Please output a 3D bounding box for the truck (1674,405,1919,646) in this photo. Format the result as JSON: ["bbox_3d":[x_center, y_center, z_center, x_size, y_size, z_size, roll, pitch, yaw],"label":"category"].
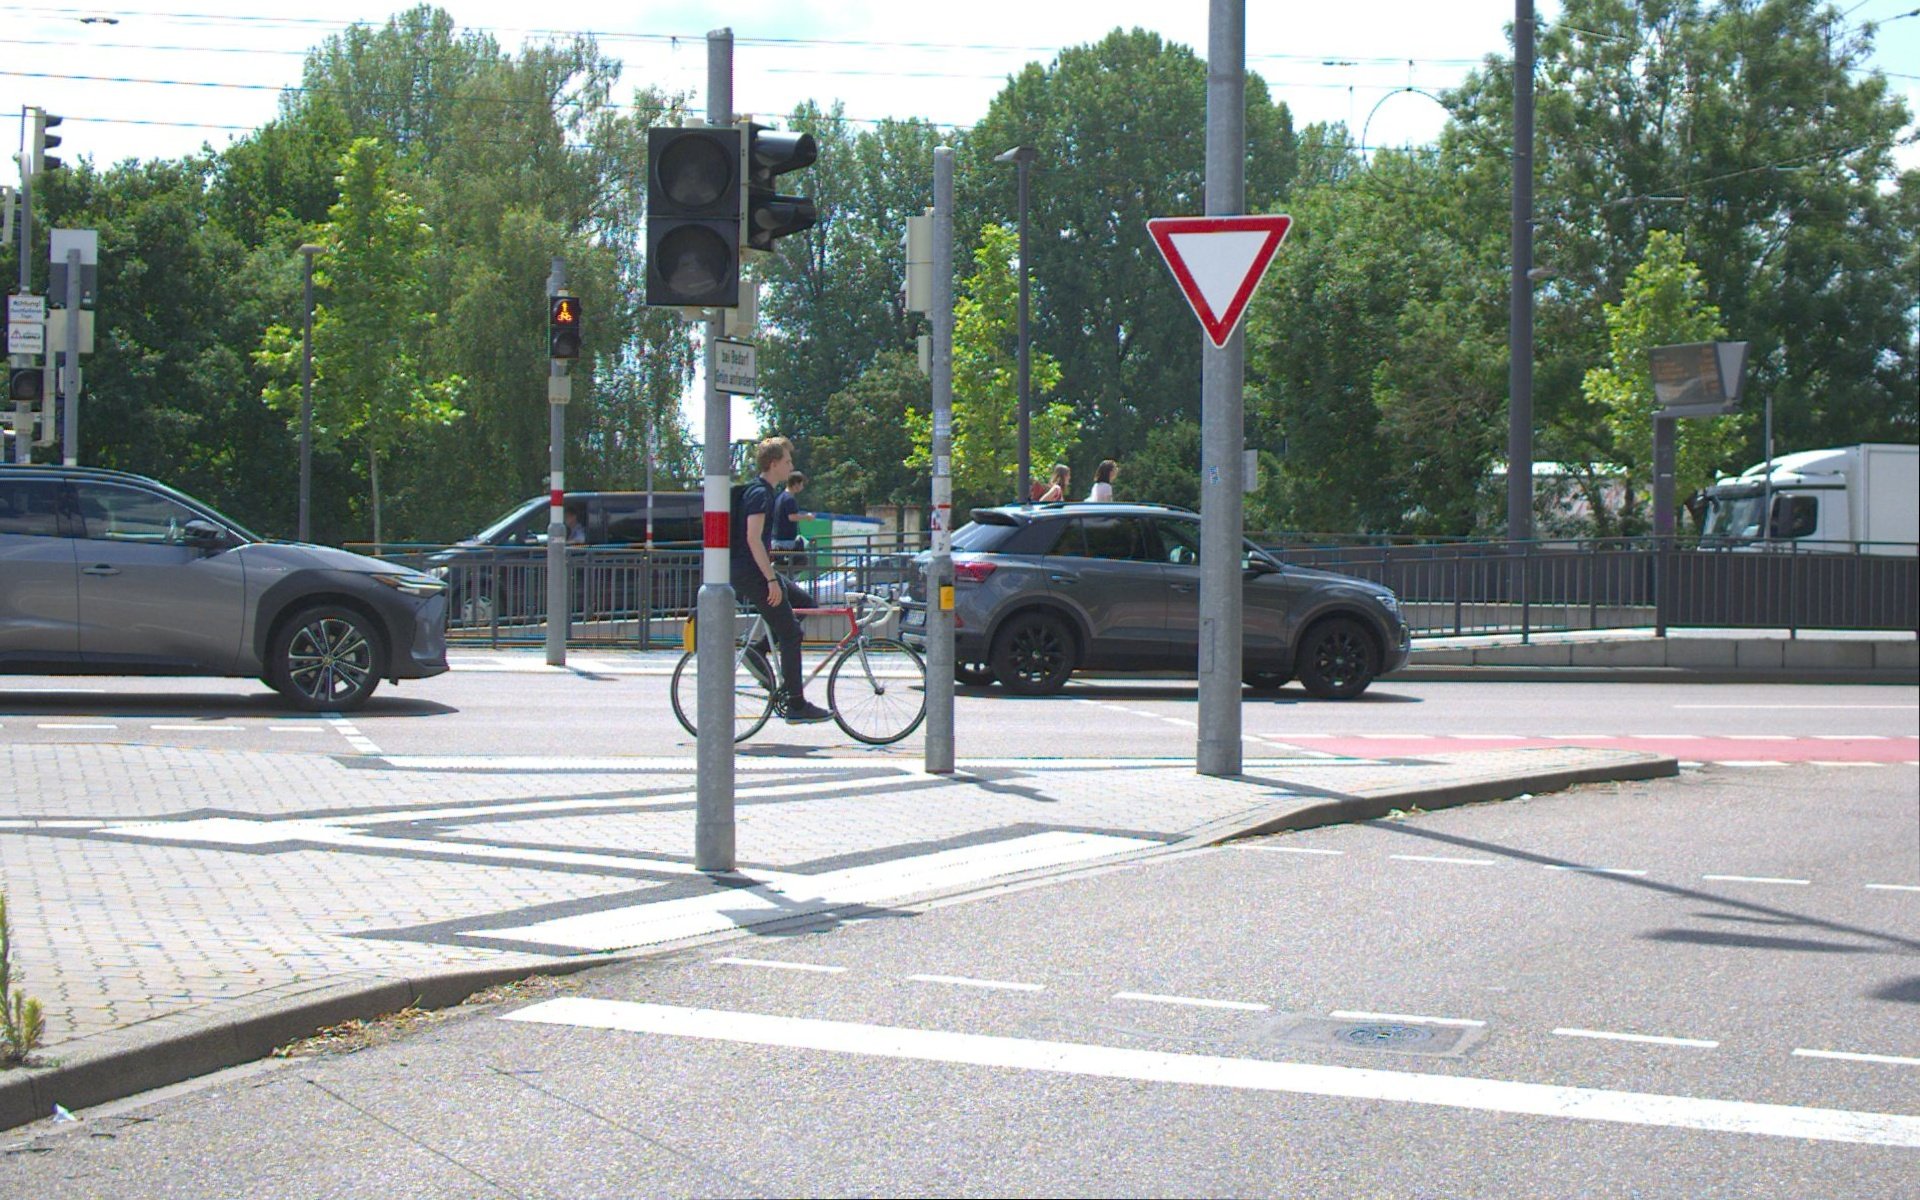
[{"bbox_3d":[19.006,-1.251,61.722,11.954,4.090,2.953,1,1,-15],"label":"truck"}]

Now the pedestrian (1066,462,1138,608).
[{"bbox_3d":[1.716,-0.793,41.633,0.675,1.742,0.637,1,2,-14],"label":"pedestrian"}]

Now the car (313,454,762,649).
[{"bbox_3d":[-4.071,-0.476,32.957,3.986,1.776,1.910,0,1,-18],"label":"car"}]

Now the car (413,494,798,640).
[{"bbox_3d":[-4.596,-0.421,44.375,4.650,1.814,2.001,0,1,-16],"label":"car"}]

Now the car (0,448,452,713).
[{"bbox_3d":[-5.873,-0.150,23.327,4.503,1.669,1.905,2,1,-18],"label":"car"}]

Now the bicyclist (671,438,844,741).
[{"bbox_3d":[-1.260,-0.066,21.355,0.920,1.840,0.611,1,1,-16],"label":"bicyclist"}]

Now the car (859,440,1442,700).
[{"bbox_3d":[1.549,-0.240,28.447,4.347,1.982,2.001,1,1,-16],"label":"car"}]

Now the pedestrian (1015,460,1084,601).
[{"bbox_3d":[1.105,-0.858,42.424,0.705,1.715,0.601,0,1,-14],"label":"pedestrian"}]

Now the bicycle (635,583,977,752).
[{"bbox_3d":[-0.961,0.422,21.448,2.016,0.995,0.622,1,2,-16],"label":"bicycle"}]

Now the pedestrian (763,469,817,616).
[{"bbox_3d":[-2.011,-0.677,40.553,0.522,1.715,0.730,0,1,-12],"label":"pedestrian"}]
